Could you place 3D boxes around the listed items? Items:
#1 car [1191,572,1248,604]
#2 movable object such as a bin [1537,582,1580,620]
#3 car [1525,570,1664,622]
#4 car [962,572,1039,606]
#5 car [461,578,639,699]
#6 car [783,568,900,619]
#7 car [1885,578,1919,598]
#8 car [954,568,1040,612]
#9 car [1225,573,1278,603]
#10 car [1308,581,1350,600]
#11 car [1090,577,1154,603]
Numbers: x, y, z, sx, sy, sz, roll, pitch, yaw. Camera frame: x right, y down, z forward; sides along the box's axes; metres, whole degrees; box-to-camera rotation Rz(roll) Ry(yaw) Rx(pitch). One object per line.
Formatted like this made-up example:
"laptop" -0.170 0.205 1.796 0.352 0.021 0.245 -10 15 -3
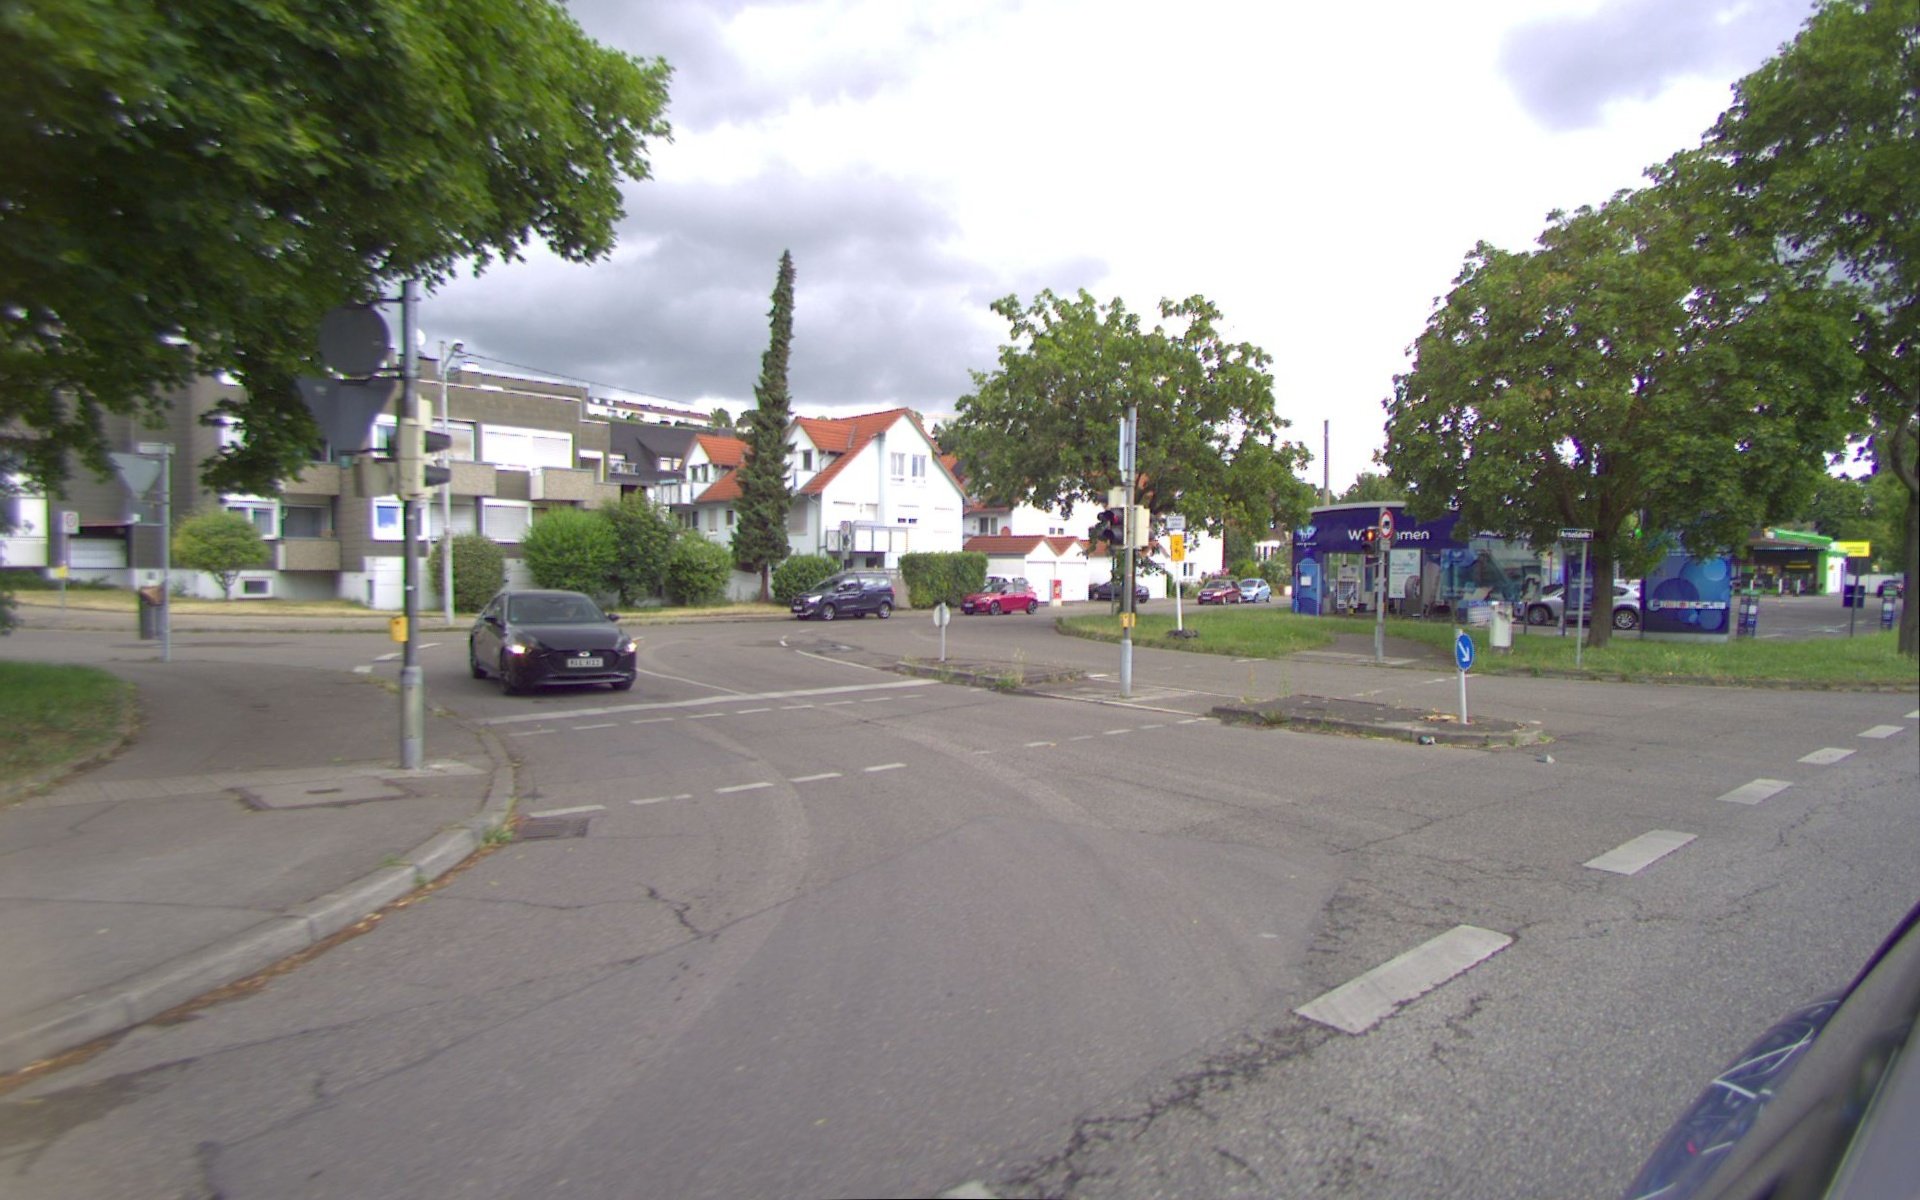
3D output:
"car" 15.816 -0.736 61.497 1.936 1.866 4.197 -1 0 36
"movable object such as a bin" 24.435 0.009 41.294 1.365 1.492 1.159 -1 2 -44
"car" 23.153 -0.171 37.109 4.178 1.718 1.821 3 2 30
"car" 2.126 -0.554 53.598 3.800 1.716 1.890 -1 0 43
"car" -6.408 0.463 15.546 1.672 1.545 4.167 -1 2 -35
"car" -4.478 -0.257 38.739 1.718 1.866 4.337 -1 0 45
"car" 88.255 -1.152 94.620 4.250 1.658 1.999 -1 5 -40
"car" 1.667 -0.453 45.037 3.859 1.866 1.616 -1 0 -44
"car" 19.017 -0.781 65.849 1.936 1.866 4.408 -1 0 36
"car" 29.192 -0.766 80.017 1.988 1.483 3.947 -1 0 37
"car" 9.783 -0.600 61.240 1.744 1.476 3.554 -1 0 -40
